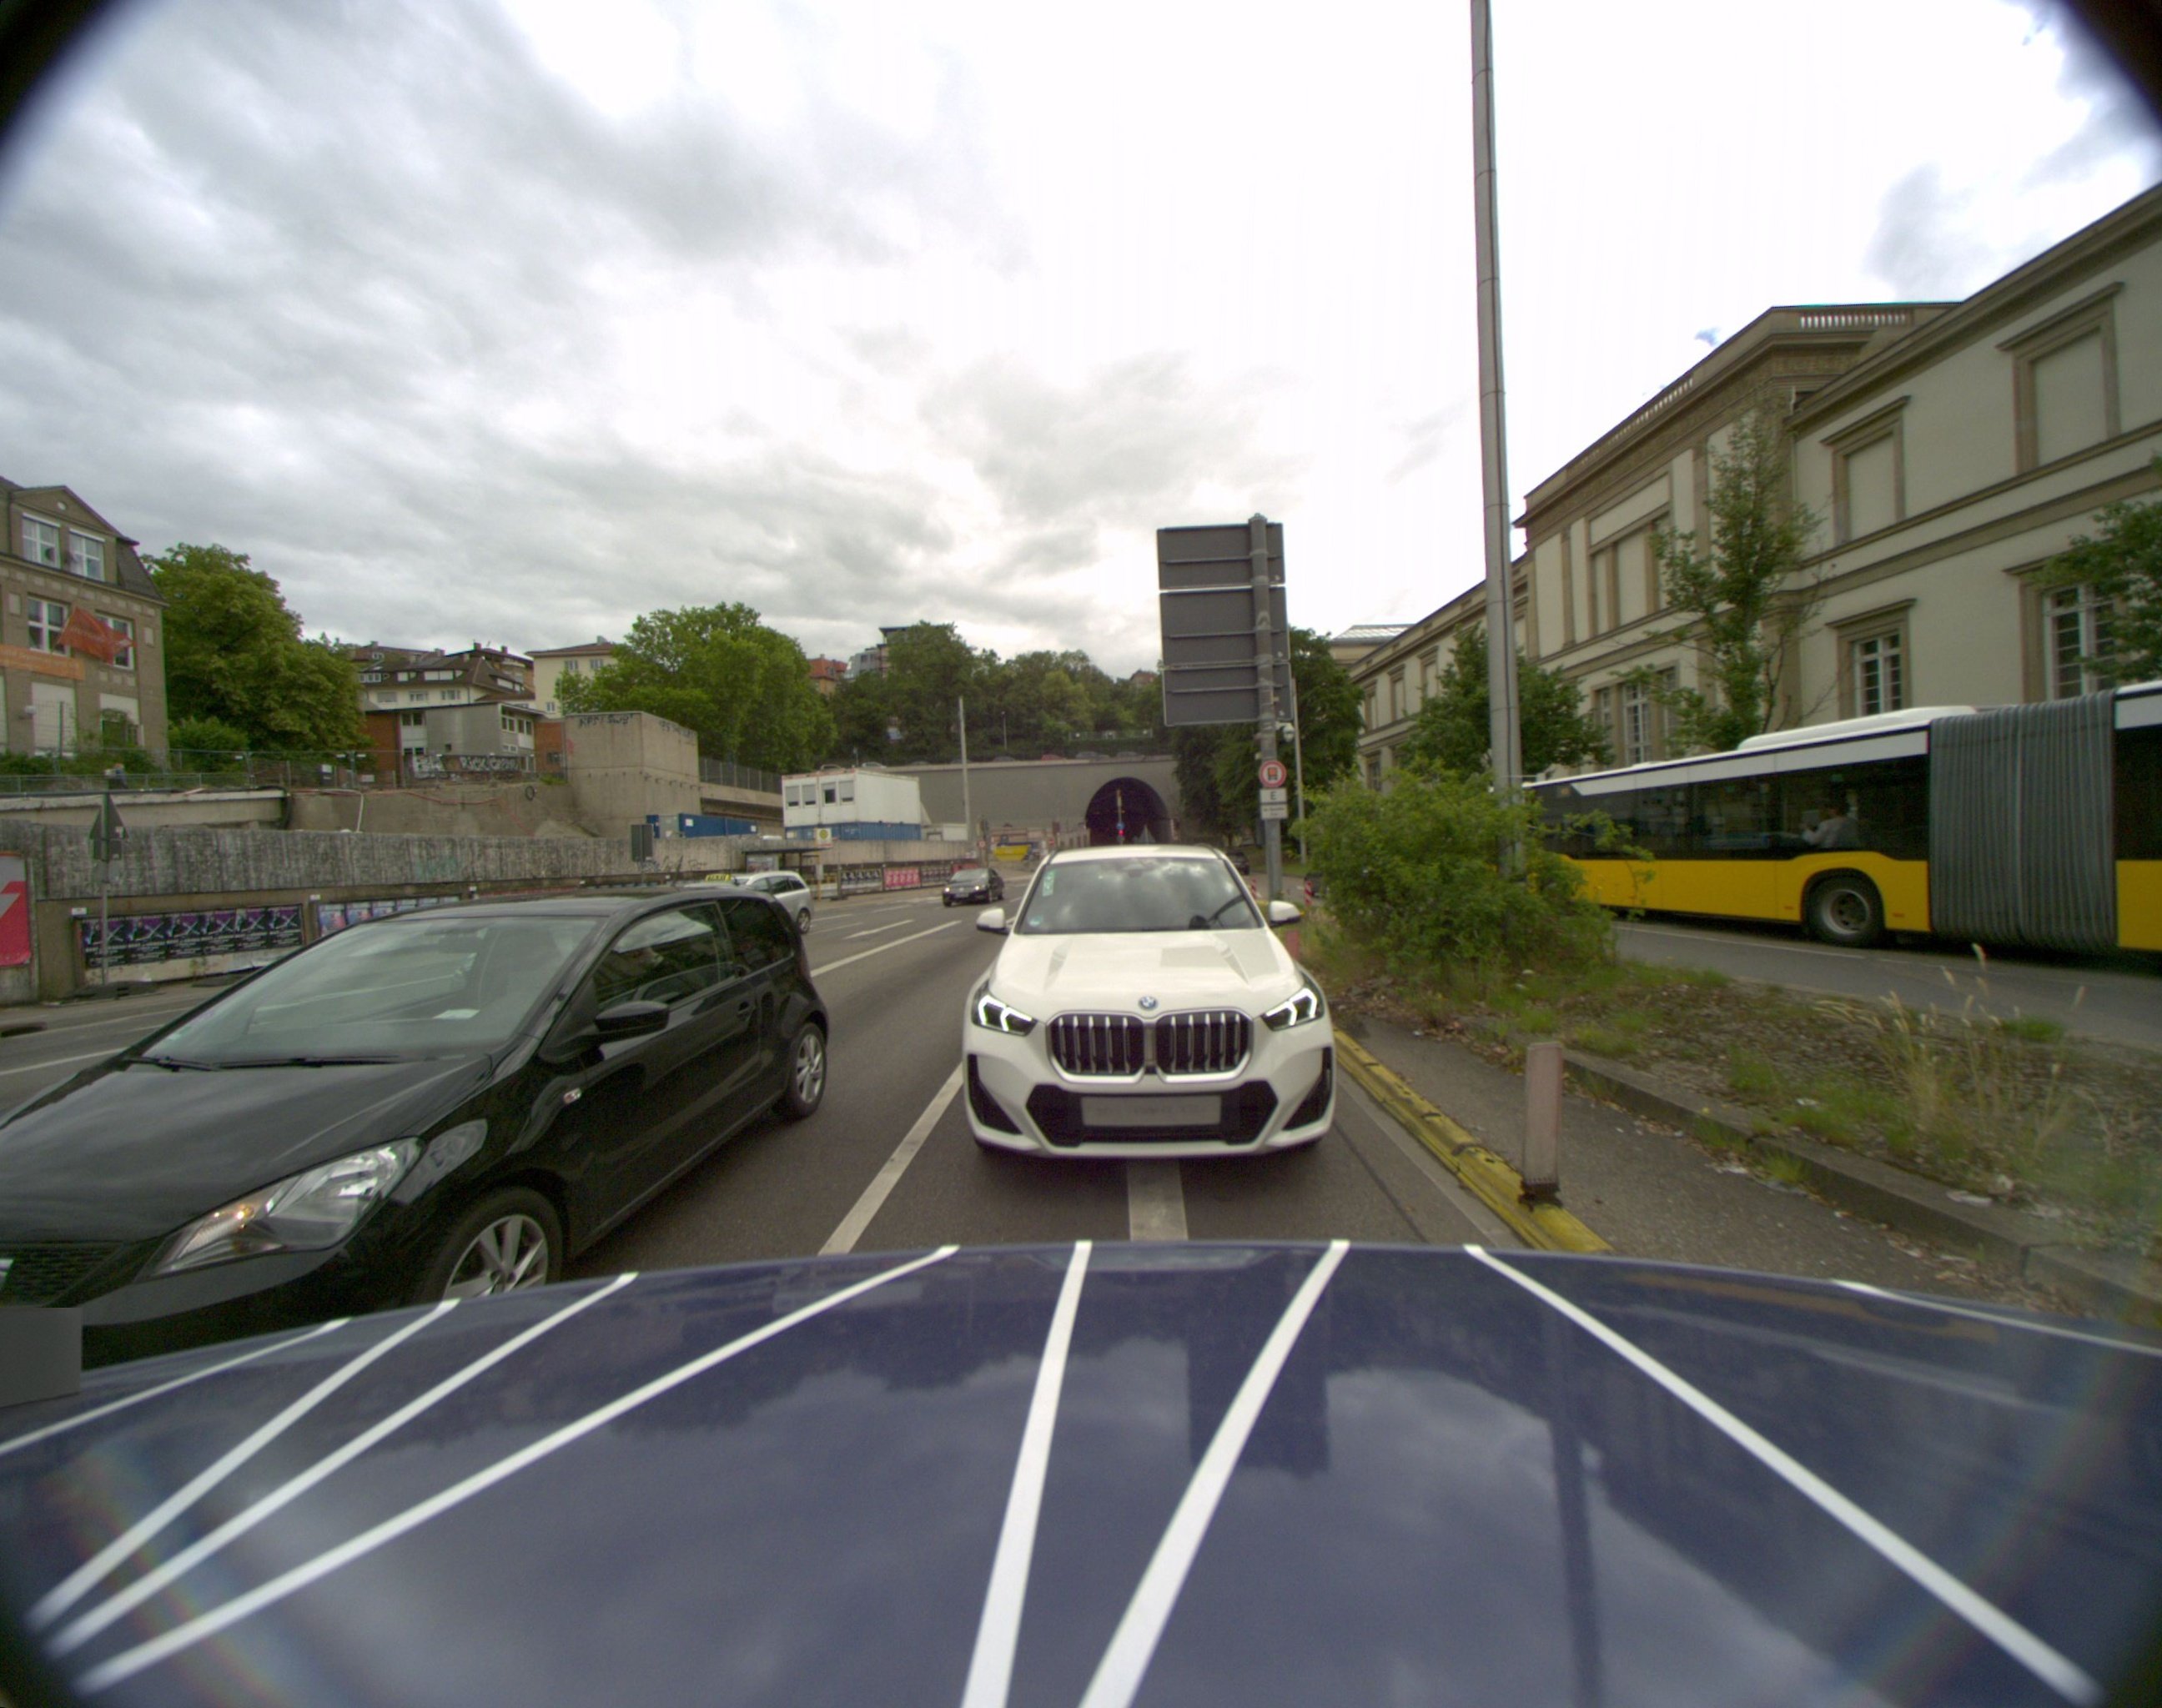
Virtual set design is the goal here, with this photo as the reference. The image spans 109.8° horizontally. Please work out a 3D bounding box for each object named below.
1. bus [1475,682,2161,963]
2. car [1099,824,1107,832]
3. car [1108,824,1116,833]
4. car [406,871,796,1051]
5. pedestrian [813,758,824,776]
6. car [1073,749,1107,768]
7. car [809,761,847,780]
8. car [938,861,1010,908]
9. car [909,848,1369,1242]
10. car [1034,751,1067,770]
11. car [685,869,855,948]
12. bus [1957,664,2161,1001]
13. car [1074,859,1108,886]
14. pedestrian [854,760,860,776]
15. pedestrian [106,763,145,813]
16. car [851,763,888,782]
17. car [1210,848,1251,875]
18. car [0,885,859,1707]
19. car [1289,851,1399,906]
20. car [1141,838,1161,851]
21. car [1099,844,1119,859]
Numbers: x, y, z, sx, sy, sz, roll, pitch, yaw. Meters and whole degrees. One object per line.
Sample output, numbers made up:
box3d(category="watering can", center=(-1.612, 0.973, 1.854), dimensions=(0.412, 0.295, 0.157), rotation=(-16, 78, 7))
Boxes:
box3d(category="bus", center=(11.183, -0.376, 13.543), dimensions=(2.853, 3.096, 9.746), rotation=(-3, 0, -2))
box3d(category="car", center=(5.066, -6.004, 174.530), dimensions=(1.667, 1.582, 3.882), rotation=(-1, 0, 2))
box3d(category="car", center=(6.083, -4.938, 149.473), dimensions=(1.667, 1.582, 3.882), rotation=(-1, 0, 2))
box3d(category="car", center=(-5.604, 1.114, 9.802), dimensions=(1.826, 1.562, 4.654), rotation=(-3, 0, 3))
box3d(category="pedestrian", center=(-31.226, -10.371, 90.435), dimensions=(0.851, 2.002, 0.905), rotation=(-3, 1, -3))
box3d(category="car", center=(1.112, -11.809, 94.489), dimensions=(3.998, 2.002, 1.999), rotation=(-2, 1, -2))
box3d(category="car", center=(-31.052, -10.240, 93.313), dimensions=(3.998, 2.002, 1.999), rotation=(-2, 1, -5))
box3d(category="car", center=(-4.127, 1.142, 30.076), dimensions=(1.704, 1.550, 4.552), rotation=(-3, 0, 6))
box3d(category="car", center=(0.302, 0.804, 5.122), dimensions=(1.848, 1.581, 3.882), rotation=(-3, 0, 2))
box3d(category="car", center=(-3.766, -11.630, 94.405), dimensions=(3.998, 2.002, 1.999), rotation=(-2, 1, -2))
box3d(category="car", center=(-7.663, 1.280, 19.266), dimensions=(1.703, 1.550, 4.554), rotation=(-3, 0, 11))
box3d(category="bus", center=(11.391, -0.250, 4.026), dimensions=(2.853, 3.096, 9.121), rotation=(-3, 0, 0))
box3d(category="car", center=(0.559, 0.987, 42.499), dimensions=(1.728, 1.310, 4.000), rotation=(-3, 0, 1))
box3d(category="pedestrian", center=(-28.332, -10.886, 96.037), dimensions=(0.581, 2.002, 0.577), rotation=(-2, 1, -3))
box3d(category="pedestrian", center=(-39.580, -2.729, 31.475), dimensions=(0.646, 2.002, 0.666), rotation=(-2, 1, -3))
box3d(category="car", center=(-26.003, -10.053, 93.376), dimensions=(3.998, 2.002, 1.999), rotation=(-2, 1, -5))
box3d(category="car", center=(9.414, 0.444, 48.155), dimensions=(1.701, 1.580, 3.882), rotation=(-3, 0, -1))
box3d(category="car", center=(-2.498, 1.008, 3.412), dimensions=(1.667, 1.487, 3.882), rotation=(-3, 0, 2))
box3d(category="car", center=(8.034, 0.680, 23.697), dimensions=(1.705, 1.463, 4.629), rotation=(-3, 0, -1))
box3d(category="car", center=(8.102, -1.093, 88.166), dimensions=(1.711, 1.505, 4.287), rotation=(0, 0, -3))
box3d(category="car", center=(2.895, -0.275, 76.740), dimensions=(1.730, 1.435, 4.001), rotation=(-3, 0, 5))
